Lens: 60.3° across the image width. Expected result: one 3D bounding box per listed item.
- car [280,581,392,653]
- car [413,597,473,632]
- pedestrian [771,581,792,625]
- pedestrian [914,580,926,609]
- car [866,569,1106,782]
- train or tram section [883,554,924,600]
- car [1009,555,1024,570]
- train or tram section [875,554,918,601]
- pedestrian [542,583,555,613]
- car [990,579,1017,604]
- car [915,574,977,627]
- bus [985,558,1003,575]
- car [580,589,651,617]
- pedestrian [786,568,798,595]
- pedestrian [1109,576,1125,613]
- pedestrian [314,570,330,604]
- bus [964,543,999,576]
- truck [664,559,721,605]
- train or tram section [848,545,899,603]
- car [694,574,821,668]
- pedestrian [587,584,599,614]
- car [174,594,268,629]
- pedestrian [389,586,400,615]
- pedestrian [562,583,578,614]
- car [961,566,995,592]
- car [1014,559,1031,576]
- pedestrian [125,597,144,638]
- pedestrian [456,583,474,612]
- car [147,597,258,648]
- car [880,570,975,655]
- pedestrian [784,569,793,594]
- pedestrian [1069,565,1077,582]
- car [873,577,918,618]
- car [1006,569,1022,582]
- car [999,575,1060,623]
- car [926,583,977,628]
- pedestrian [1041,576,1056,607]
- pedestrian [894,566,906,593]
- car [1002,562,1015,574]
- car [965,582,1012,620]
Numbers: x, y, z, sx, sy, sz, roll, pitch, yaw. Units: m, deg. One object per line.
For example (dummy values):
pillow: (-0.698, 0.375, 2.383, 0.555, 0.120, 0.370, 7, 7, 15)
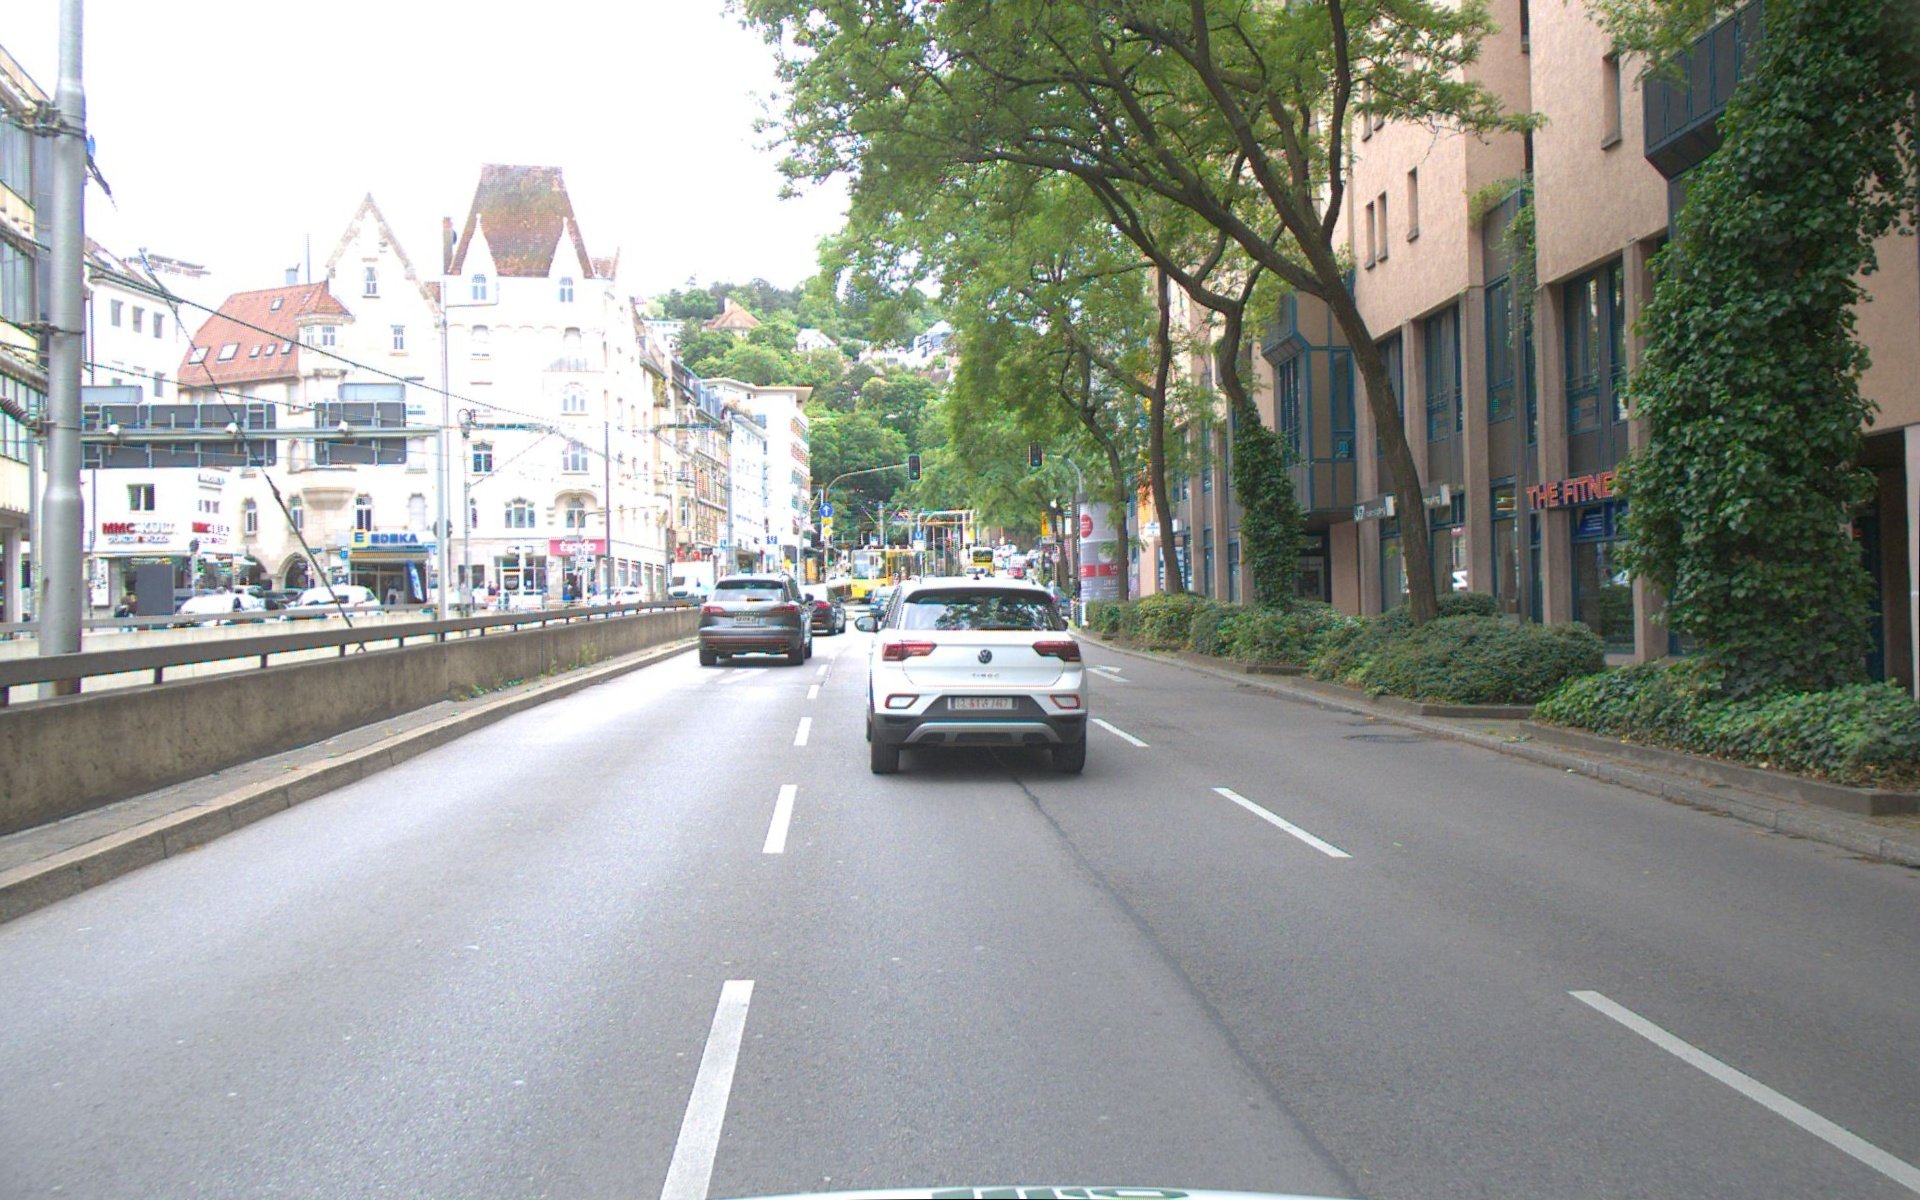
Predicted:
car: (-17.783, 0.464, 47.348, 1.798, 1.874, 4.599, 3, 0, -6)
car: (-24.192, 0.643, 77.463, 1.630, 1.527, 4.042, -1, 0, -2)
pedestrian: (-7.315, 0.119, 67.643, 0.748, 1.751, 0.638, -1, 0, 2)
pedestrian: (-2.452, -0.337, 100.848, 0.622, 1.741, 0.872, -1, 1, 3)
car: (0.082, 0.570, 14.640, 1.801, 1.611, 4.154, 0, 0, -4)
train or tram section: (-4.557, -1.876, 133.358, 2.775, 3.582, 5.755, 0, 1, 3)
car: (6.636, -4.408, 194.606, 1.638, 1.588, 3.680, 0, 0, 3)
train or tram section: (-4.887, -1.761, 127.605, 2.775, 3.582, 5.755, 0, 1, 3)
pedestrian: (-24.651, -0.105, 99.004, 0.563, 1.811, 0.512, -1, 0, 8)
car: (3.115, -0.598, 117.468, 1.845, 1.713, 4.163, 0, 0, 3)
car: (-0.505, 0.016, 55.779, 1.847, 1.713, 4.158, 0, 0, -4)
bus: (4.236, -4.127, 206.567, 1.953, 2.049, 3.998, 0, 0, -2)
car: (-20.401, 0.166, 98.110, 1.715, 1.588, 4.508, 0, 0, 27)
pedestrian: (-11.395, -1.272, 112.277, 0.613, 1.793, 0.847, -1, 0, 4)
pedestrian: (8.910, -0.318, 93.873, 0.819, 2.049, 0.764, 0, 0, -1)
pedestrian: (-34.288, -0.688, 88.904, 0.564, 1.811, 0.511, -1, 0, 29)
bus: (2.310, -4.132, 172.188, 3.301, 3.118, 13.329, 0, 0, 3)
truck: (-18.717, -1.220, 116.240, 2.219, 3.130, 7.379, 0, 0, 5)
train or tram section: (-5.742, -1.761, 110.311, 2.775, 3.743, 5.755, 0, 1, 3)
car: (-3.800, 0.347, 31.673, 1.953, 1.664, 4.000, 0, 1, 0)
pedestrian: (-22.313, -0.074, 100.530, 0.499, 1.811, 0.577, -1, 0, 17)
car: (-35.297, 0.535, 79.097, 3.974, 1.527, 1.658, -1, 0, -23)
pedestrian: (-35.565, 0.033, 104.064, 0.565, 1.811, 0.510, -1, 0, -11)
pedestrian: (-23.578, -0.094, 99.997, 0.694, 1.811, 0.596, -1, 0, 19)
car: (1.521, -1.729, 135.701, 2.314, 2.049, 5.152, 0, 0, 6)
car: (7.938, -4.129, 210.667, 1.953, 2.049, 3.999, 0, 0, -1)
pedestrian: (-36.222, 0.769, 72.586, 0.499, 1.811, 0.577, -1, 0, 5)
pedestrian: (-29.911, -0.127, 99.946, 0.765, 1.735, 0.654, -1, 0, 8)
car: (-24.369, 0.693, 53.394, 1.630, 1.527, 4.412, -1, 1, -2)
car: (-0.757, 0.242, 35.497, 1.847, 1.713, 4.158, 0, 0, -4)
pedestrian: (-12.112, -1.302, 116.903, 0.623, 1.741, 0.689, -1, 1, -6)
pedestrian: (11.030, -2.626, 161.808, 0.626, 1.643, 0.585, 0, 0, -18)
car: (-2.830, -0.099, 72.140, 1.847, 1.713, 4.158, 0, 0, -4)
car: (5.278, -2.359, 160.968, 1.549, 1.193, 3.680, 0, 0, 3)
car: (3.006, -0.056, 72.644, 2.317, 2.049, 5.146, 0, 0, -2)
car: (-0.369, 0.244, 77.670, 2.316, 2.049, 5.148, 0, 0, 1)
pedestrian: (5.437, -0.512, 101.695, 0.679, 1.808, 0.689, -5, 0, -1)
pedestrian: (-3.839, -1.311, 106.377, 0.671, 1.741, 0.712, -1, 1, 3)
car: (6.616, -4.300, 224.861, 1.638, 1.588, 3.680, 0, 0, 3)
car: (1.563, 0.021, 92.092, 2.317, 2.049, 5.146, 0, 0, -2)
